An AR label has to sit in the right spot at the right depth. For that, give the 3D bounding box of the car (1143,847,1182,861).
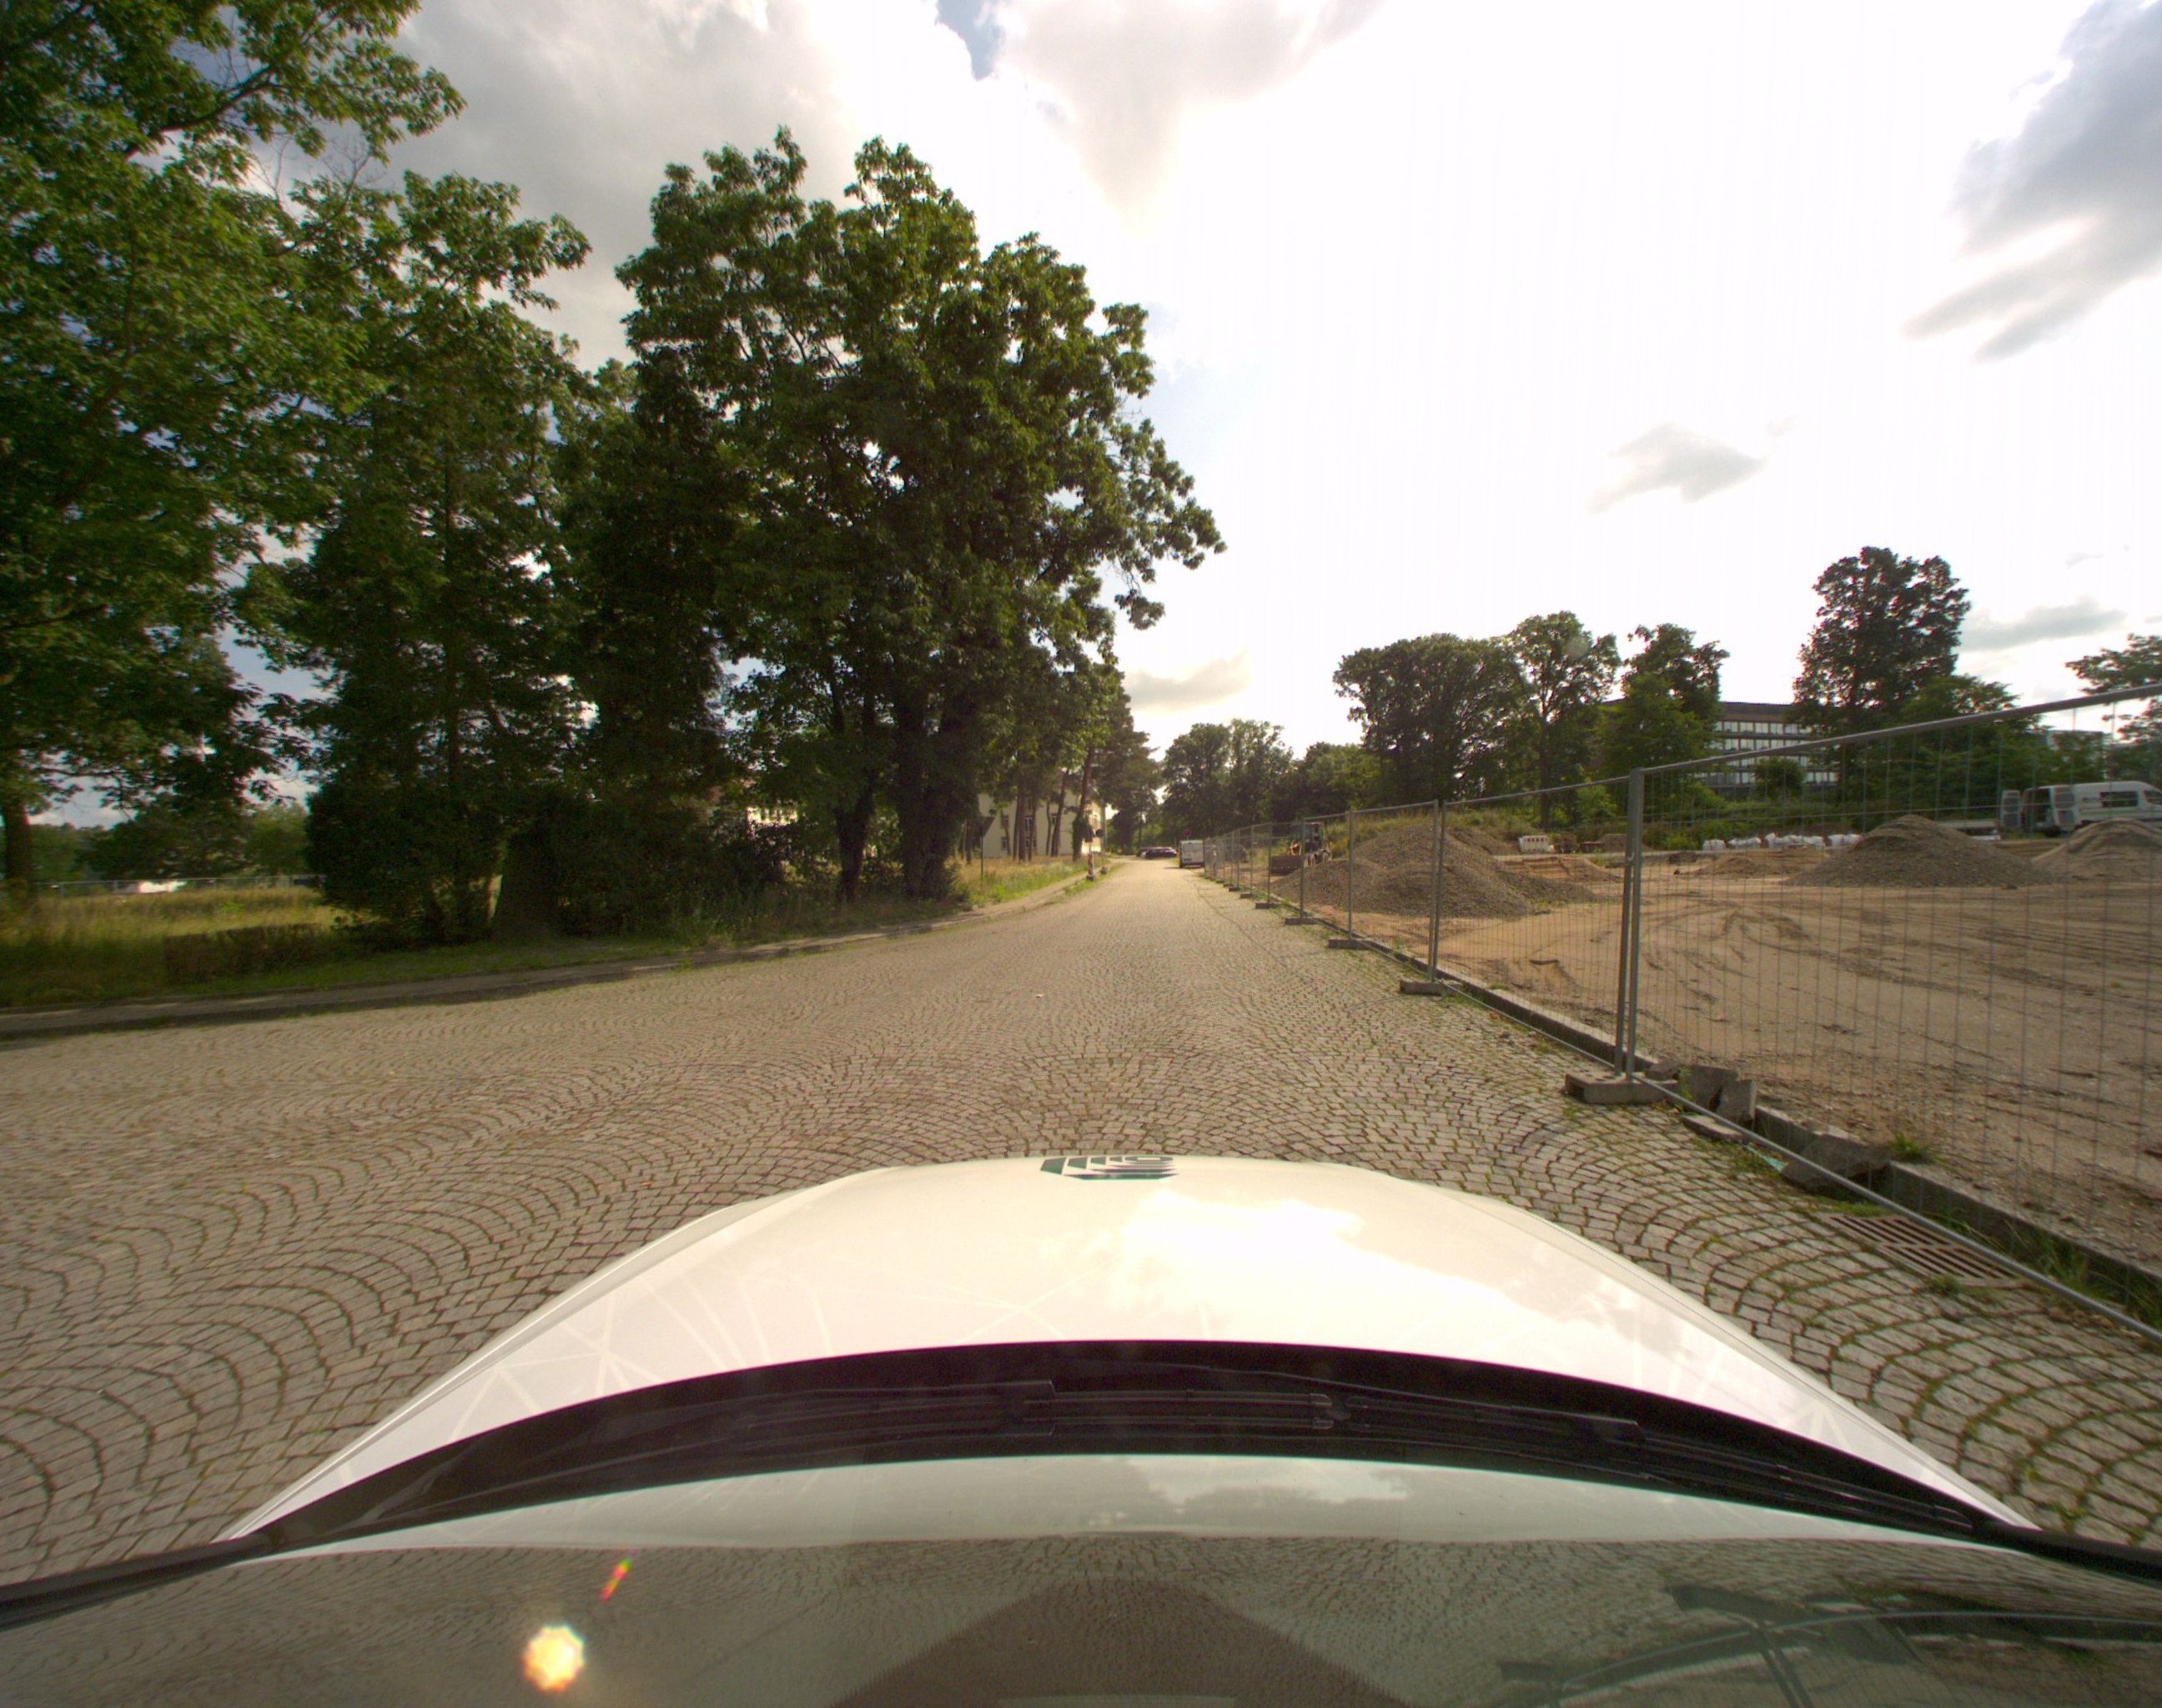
[{"bbox_3d":[10.645,-0.006,106.695,4.766,1.640,1.999,-2,0,-1],"label":"car"}]

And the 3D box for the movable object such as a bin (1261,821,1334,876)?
[{"bbox_3d":[11.213,-0.306,41.886,2.108,2.593,4.822,-2,0,33],"label":"movable object such as a bin"}]

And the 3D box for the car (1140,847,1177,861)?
[{"bbox_3d":[10.496,-0.015,110.328,4.766,1.640,1.999,-2,0,-1],"label":"car"}]

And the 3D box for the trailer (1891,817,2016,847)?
[{"bbox_3d":[45.256,-1.133,42.374,3.949,1.354,2.101,-2,0,29],"label":"trailer"}]

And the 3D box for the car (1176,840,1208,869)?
[{"bbox_3d":[8.145,0.009,60.261,1.985,2.013,4.095,-2,0,3],"label":"car"}]

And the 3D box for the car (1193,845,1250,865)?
[{"bbox_3d":[11.316,0.060,65.607,4.373,1.510,2.007,-1,0,12],"label":"car"}]

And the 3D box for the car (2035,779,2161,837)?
[{"bbox_3d":[50.997,-2.251,40.114,4.765,2.642,2.065,-2,0,17],"label":"car"}]
